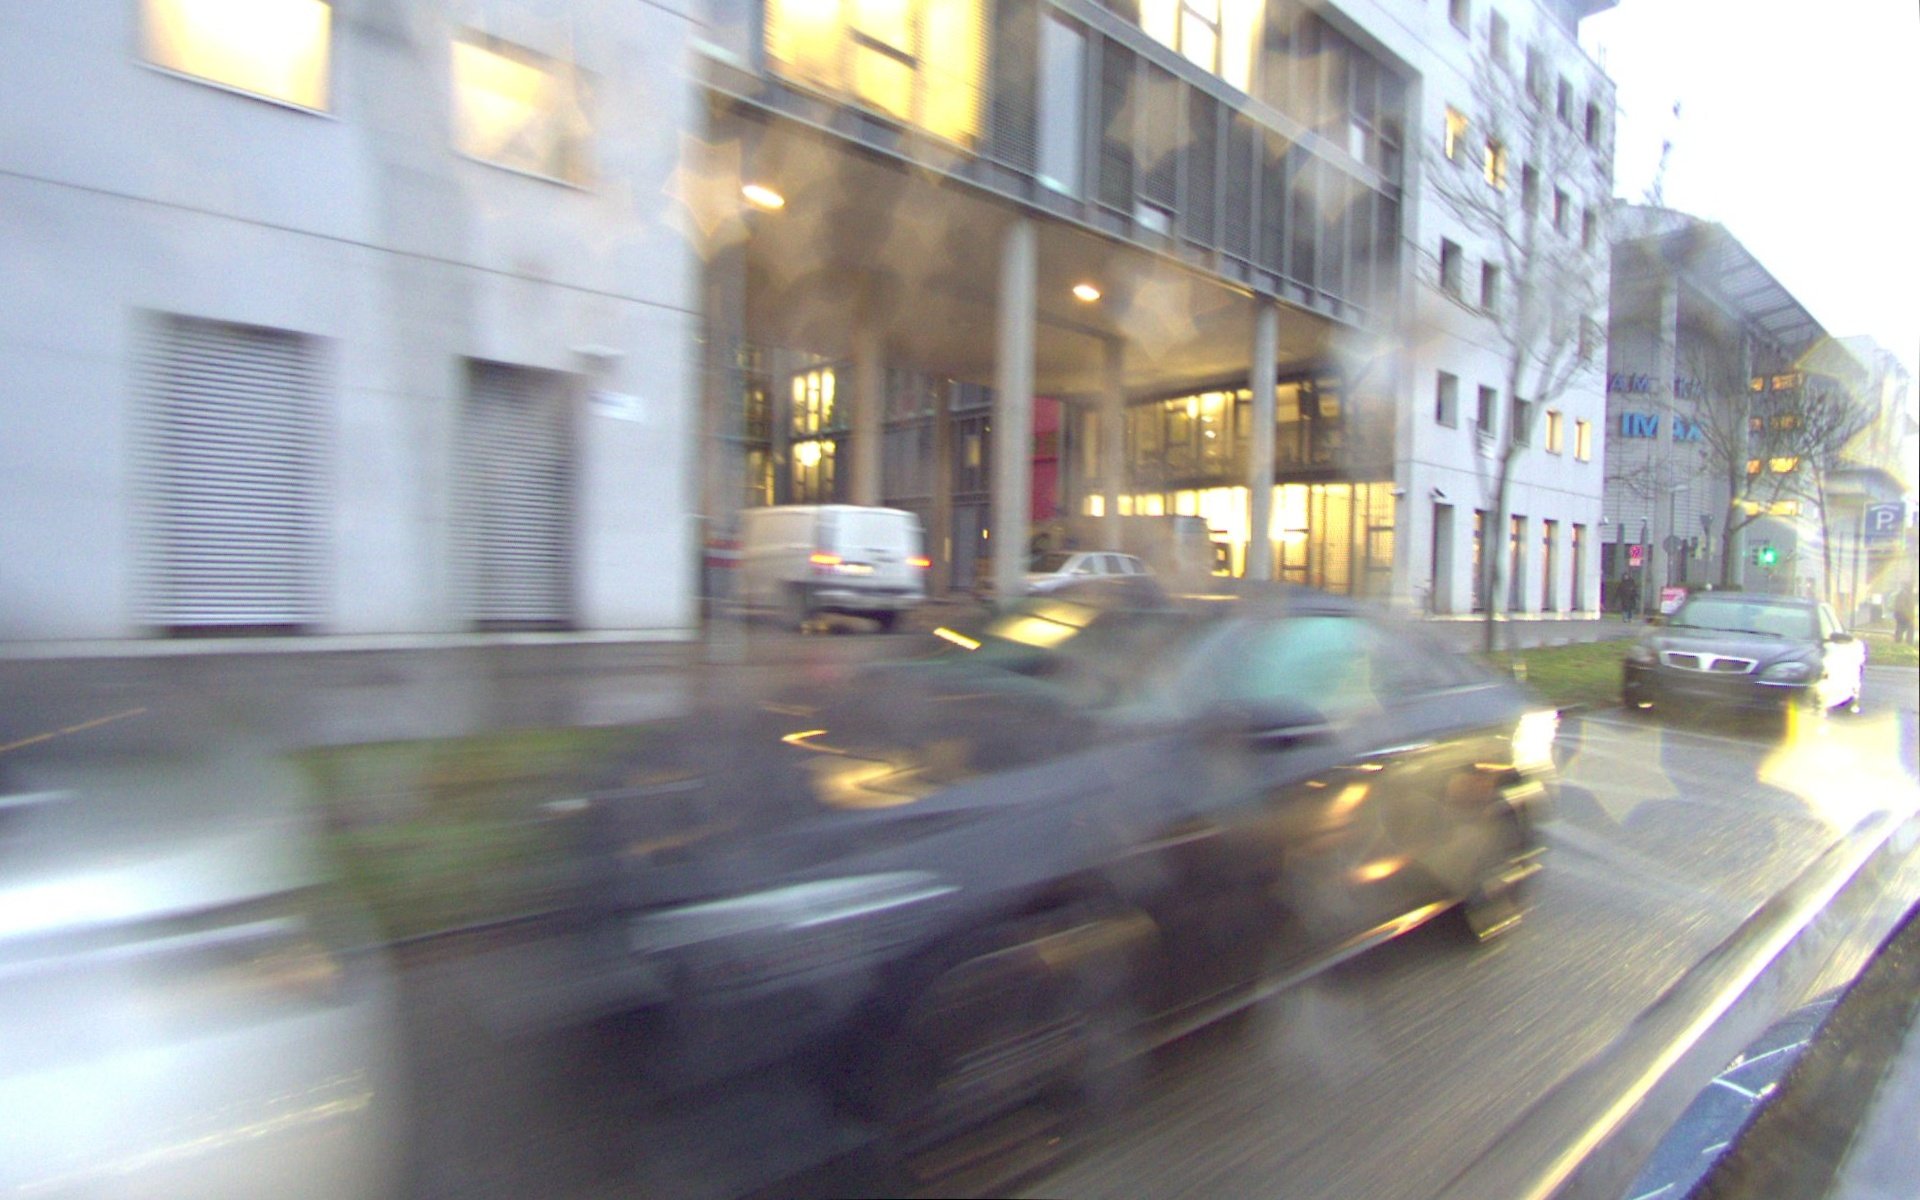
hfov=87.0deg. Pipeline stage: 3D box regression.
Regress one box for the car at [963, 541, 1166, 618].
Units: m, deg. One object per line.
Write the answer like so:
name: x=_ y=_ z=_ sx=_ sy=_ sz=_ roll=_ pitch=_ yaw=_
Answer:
car: x=2.237 y=-0.458 z=20.720 sx=4.456 sy=1.387 sz=1.634 roll=-2 pitch=4 yaw=-44

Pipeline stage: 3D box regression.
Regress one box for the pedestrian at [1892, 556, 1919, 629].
pedestrian: x=24.547 y=-0.192 z=25.956 sx=0.688 sy=1.829 sz=0.772 roll=-2 pitch=7 yaw=-44

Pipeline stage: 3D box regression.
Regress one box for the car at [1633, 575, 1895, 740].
car: x=9.376 y=0.506 z=11.680 sx=4.156 sy=1.457 sz=1.599 roll=-2 pitch=6 yaw=-42

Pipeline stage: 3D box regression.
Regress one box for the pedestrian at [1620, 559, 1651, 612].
pedestrian: x=22.738 y=-0.504 z=34.054 sx=0.691 sy=1.757 sz=0.737 roll=-1 pitch=1 yaw=-44

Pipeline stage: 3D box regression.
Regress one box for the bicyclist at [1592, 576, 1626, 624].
bicyclist: x=25.716 y=0.001 z=40.092 sx=0.822 sy=1.845 sz=0.733 roll=3 pitch=-1 yaw=-19

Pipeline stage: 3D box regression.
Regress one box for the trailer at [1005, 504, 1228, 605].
trailer: x=4.344 y=-1.306 z=29.155 sx=2.174 sy=2.613 sz=6.262 roll=0 pitch=2 yaw=-44

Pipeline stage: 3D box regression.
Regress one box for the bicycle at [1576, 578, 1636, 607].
bicycle: x=25.676 y=-0.306 z=40.253 sx=0.836 sy=1.105 sz=1.872 roll=3 pitch=0 yaw=-18

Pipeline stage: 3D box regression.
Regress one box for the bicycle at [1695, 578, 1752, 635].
bicycle: x=16.610 y=0.119 z=21.993 sx=2.129 sy=1.129 sz=0.551 roll=-2 pitch=4 yaw=-42

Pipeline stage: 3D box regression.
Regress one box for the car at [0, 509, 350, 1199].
car: x=-2.641 y=0.554 z=0.839 sx=3.426 sy=1.411 sz=1.594 roll=0 pitch=3 yaw=-42

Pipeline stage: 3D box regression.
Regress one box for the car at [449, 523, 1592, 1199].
car: x=0.568 y=0.570 z=3.782 sx=4.172 sy=1.421 sz=1.758 roll=0 pitch=0 yaw=-38

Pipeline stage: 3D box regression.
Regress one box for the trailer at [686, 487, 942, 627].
trailer: x=-2.615 y=-0.650 z=16.800 sx=2.089 sy=1.935 sz=5.084 roll=2 pitch=0 yaw=-35
